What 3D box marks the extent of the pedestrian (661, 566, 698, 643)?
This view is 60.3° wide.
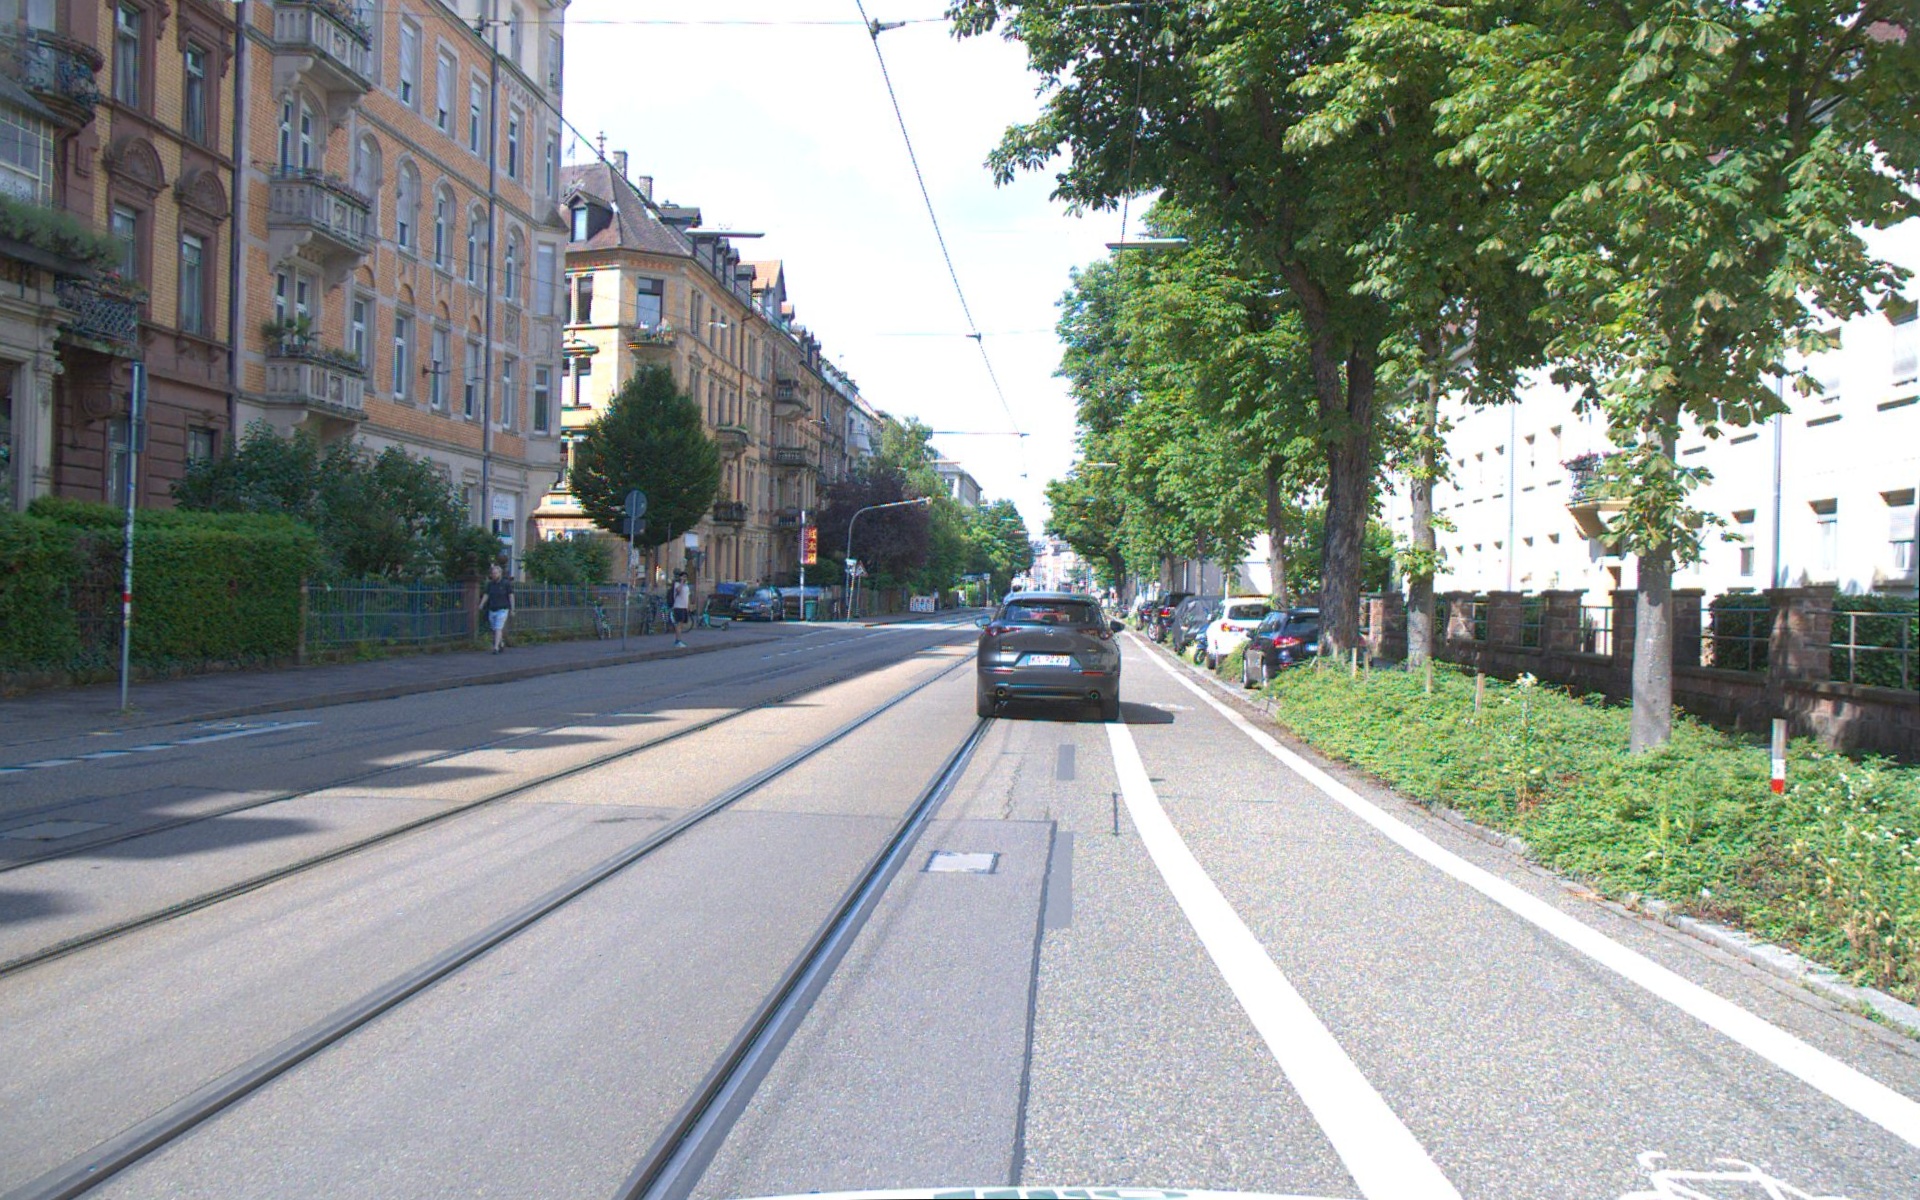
[{"bbox_3d":[-6.716,0.096,39.662,0.522,1.791,1.106,3,0,4],"label":"pedestrian"}]

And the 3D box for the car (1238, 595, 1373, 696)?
[{"bbox_3d":[5.873,0.713,28.537,1.626,1.547,4.290,2,0,3],"label":"car"}]

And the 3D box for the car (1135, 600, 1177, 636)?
[{"bbox_3d":[9.126,0.818,77.365,1.670,1.504,4.199,4,0,4],"label":"car"}]

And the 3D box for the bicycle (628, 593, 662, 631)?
[{"bbox_3d":[-8.644,0.317,45.415,0.412,0.993,1.950,1,0,3],"label":"bicycle"}]

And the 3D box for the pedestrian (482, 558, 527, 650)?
[{"bbox_3d":[-8.843,0.068,32.112,0.477,1.733,1.151,2,0,2],"label":"pedestrian"}]

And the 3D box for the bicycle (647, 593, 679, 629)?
[{"bbox_3d":[-8.517,0.307,47.476,0.412,0.993,1.950,1,0,3],"label":"bicycle"}]

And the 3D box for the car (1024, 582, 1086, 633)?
[{"bbox_3d":[3.260,0.247,56.593,1.952,1.555,4.002,4,0,4],"label":"car"}]

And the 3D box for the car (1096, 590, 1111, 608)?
[{"bbox_3d":[16.580,-0.112,191.114,1.684,2.003,4.209,1,0,5],"label":"car"}]

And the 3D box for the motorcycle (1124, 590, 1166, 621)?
[{"bbox_3d":[10.398,0.322,92.903,2.346,1.625,0.674,4,2,43],"label":"motorcycle"}]

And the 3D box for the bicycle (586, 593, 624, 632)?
[{"bbox_3d":[-8.854,0.307,41.285,0.412,0.949,1.950,1,0,3],"label":"bicycle"}]

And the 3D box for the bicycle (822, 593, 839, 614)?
[{"bbox_3d":[-6.241,0.165,79.483,0.519,0.963,1.969,1,0,4],"label":"bicycle"}]

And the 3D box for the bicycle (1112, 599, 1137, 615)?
[{"bbox_3d":[12.765,0.534,128.463,1.896,1.196,0.513,0,-1,16],"label":"bicycle"}]

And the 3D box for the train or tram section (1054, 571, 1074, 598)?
[{"bbox_3d":[15.538,-2.342,248.213,2.518,3.838,13.029,1,0,2],"label":"train or tram section"}]

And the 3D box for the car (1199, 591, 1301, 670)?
[{"bbox_3d":[6.400,0.619,36.838,1.705,1.608,4.250,2,0,3],"label":"car"}]

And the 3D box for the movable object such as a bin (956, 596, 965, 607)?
[{"bbox_3d":[0.051,0.161,164.366,0.729,1.005,1.115,3,0,4],"label":"movable object such as a bin"}]

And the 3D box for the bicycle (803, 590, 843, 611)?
[{"bbox_3d":[-6.792,0.027,82.197,1.921,0.963,0.532,1,0,-1],"label":"bicycle"}]

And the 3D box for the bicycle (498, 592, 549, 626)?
[{"bbox_3d":[-13.127,0.262,49.787,1.422,0.993,0.404,1,0,4],"label":"bicycle"}]

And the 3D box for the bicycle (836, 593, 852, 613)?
[{"bbox_3d":[-5.851,0.142,83.621,0.519,0.963,1.969,1,0,4],"label":"bicycle"}]

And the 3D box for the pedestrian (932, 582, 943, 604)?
[{"bbox_3d":[-1.829,-0.534,133.352,0.805,1.736,0.891,1,0,1],"label":"pedestrian"}]

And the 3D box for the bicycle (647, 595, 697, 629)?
[{"bbox_3d":[-8.660,0.352,49.752,1.422,0.993,0.404,1,0,4],"label":"bicycle"}]

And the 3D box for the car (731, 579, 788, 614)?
[{"bbox_3d":[-8.878,-0.167,73.582,1.650,1.485,4.767,1,0,4],"label":"car"}]

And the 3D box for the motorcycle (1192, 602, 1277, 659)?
[{"bbox_3d":[6.863,0.747,41.410,1.965,1.360,0.747,1,0,0],"label":"motorcycle"}]

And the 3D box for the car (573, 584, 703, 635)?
[{"bbox_3d":[-10.001,0.289,51.462,3.527,1.427,1.788,2,1,8],"label":"car"}]

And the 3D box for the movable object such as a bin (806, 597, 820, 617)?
[{"bbox_3d":[-6.721,0.325,75.632,0.514,0.921,0.636,1,0,3],"label":"movable object such as a bin"}]

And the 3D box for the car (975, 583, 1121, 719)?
[{"bbox_3d":[1.151,0.592,21.256,1.684,1.553,3.591,1,0,4],"label":"car"}]

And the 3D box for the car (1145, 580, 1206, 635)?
[{"bbox_3d":[7.469,0.224,57.762,1.789,1.813,4.735,1,1,4],"label":"car"}]

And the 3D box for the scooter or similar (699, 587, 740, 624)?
[{"bbox_3d":[-8.512,0.194,58.498,1.344,1.256,0.401,2,0,-25],"label":"scooter or similar"}]

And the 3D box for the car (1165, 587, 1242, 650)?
[{"bbox_3d":[7.033,0.505,48.186,1.823,1.682,4.640,1,0,4],"label":"car"}]
